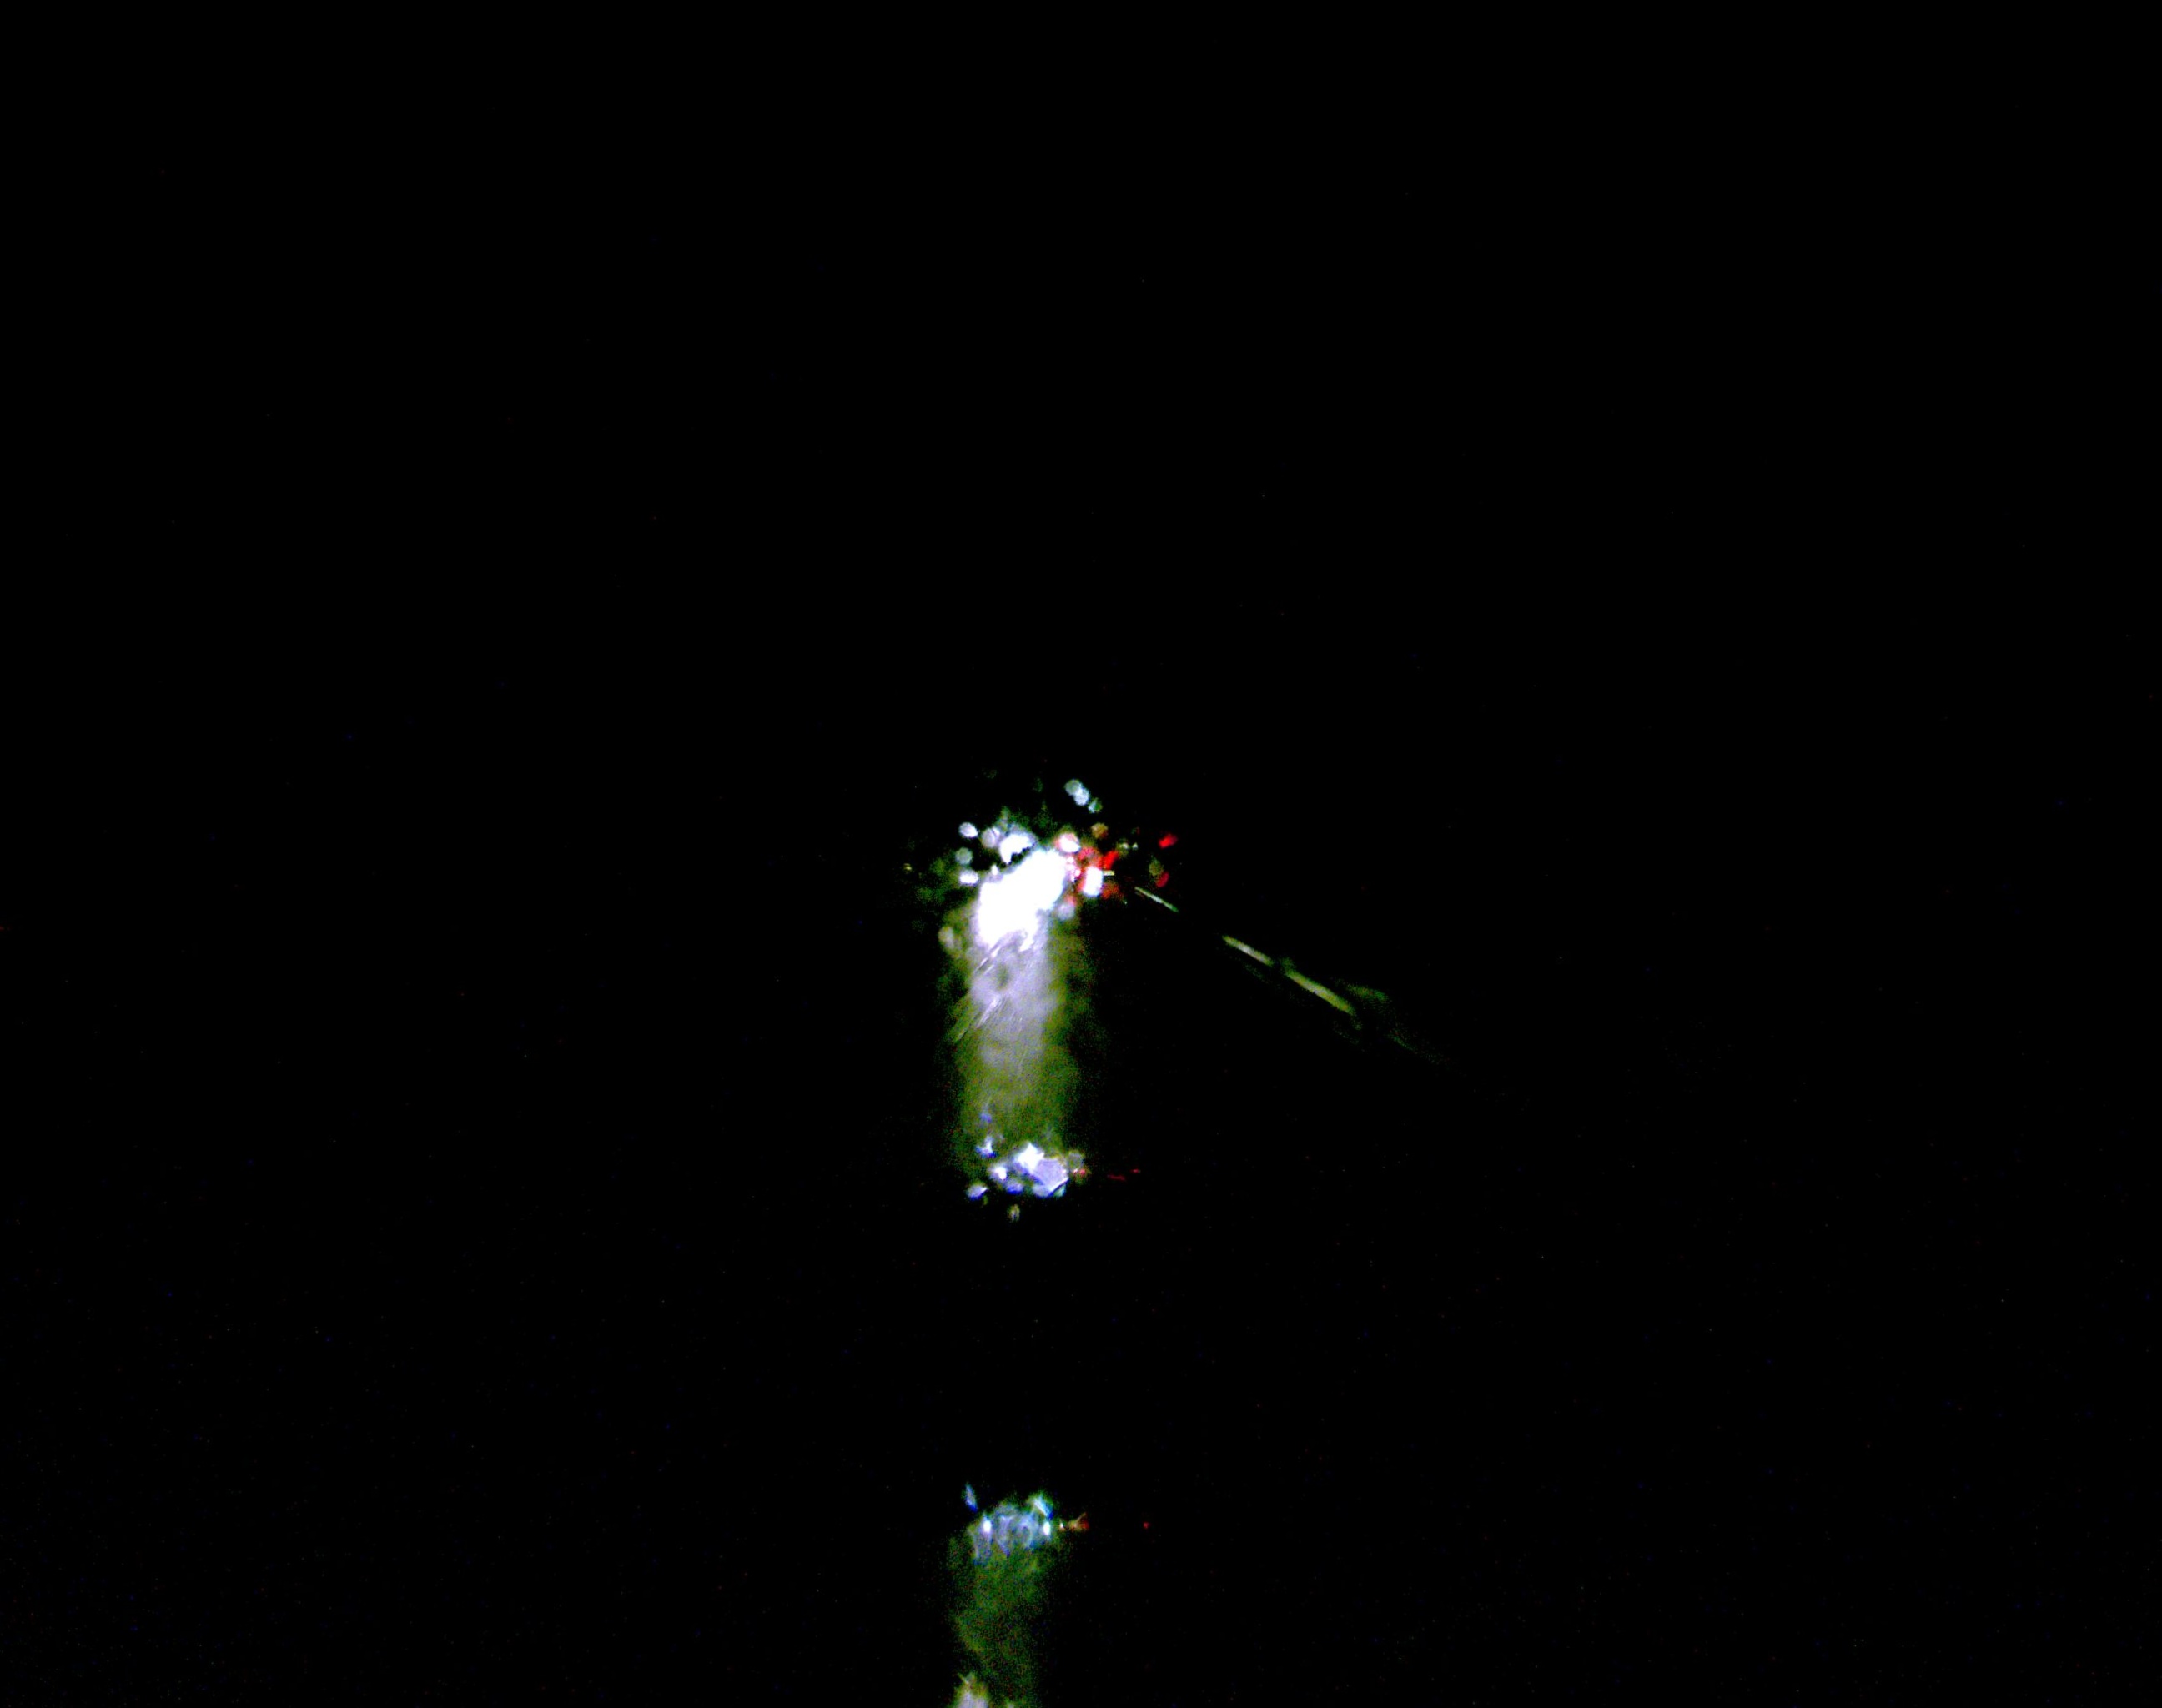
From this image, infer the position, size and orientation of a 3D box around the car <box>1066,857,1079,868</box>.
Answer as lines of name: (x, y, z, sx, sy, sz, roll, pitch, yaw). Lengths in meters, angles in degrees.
car: (-1.106, 1.169, 109.711, 1.654, 1.481, 3.585, 1, -1, 1)

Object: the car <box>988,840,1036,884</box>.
car: (-2.902, 0.291, 35.103, 1.748, 1.734, 3.998, 1, 1, -1)

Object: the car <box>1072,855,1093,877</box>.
car: (0.132, 1.077, 71.598, 1.734, 1.714, 3.700, 1, -2, 1)

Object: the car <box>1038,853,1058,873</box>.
car: (-3.310, 0.945, 82.564, 1.886, 1.910, 3.792, 1, -1, -2)

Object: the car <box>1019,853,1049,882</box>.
car: (-3.568, 1.022, 62.062, 1.987, 2.067, 3.999, 1, -1, 0)

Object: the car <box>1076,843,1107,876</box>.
car: (0.691, 0.424, 55.203, 1.987, 2.014, 3.999, 1, -3, 0)

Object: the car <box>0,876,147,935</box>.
car: (-33.324, 1.661, 26.090, 1.672, 1.687, 4.189, -3, -1, 28)

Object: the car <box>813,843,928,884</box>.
car: (-9.909, 0.428, 38.627, 4.900, 1.734, 1.998, -1, 0, -3)

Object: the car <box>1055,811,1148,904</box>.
car: (0.558, 0.079, 25.496, 2.531, 2.498, 5.713, -2, 0, 0)
